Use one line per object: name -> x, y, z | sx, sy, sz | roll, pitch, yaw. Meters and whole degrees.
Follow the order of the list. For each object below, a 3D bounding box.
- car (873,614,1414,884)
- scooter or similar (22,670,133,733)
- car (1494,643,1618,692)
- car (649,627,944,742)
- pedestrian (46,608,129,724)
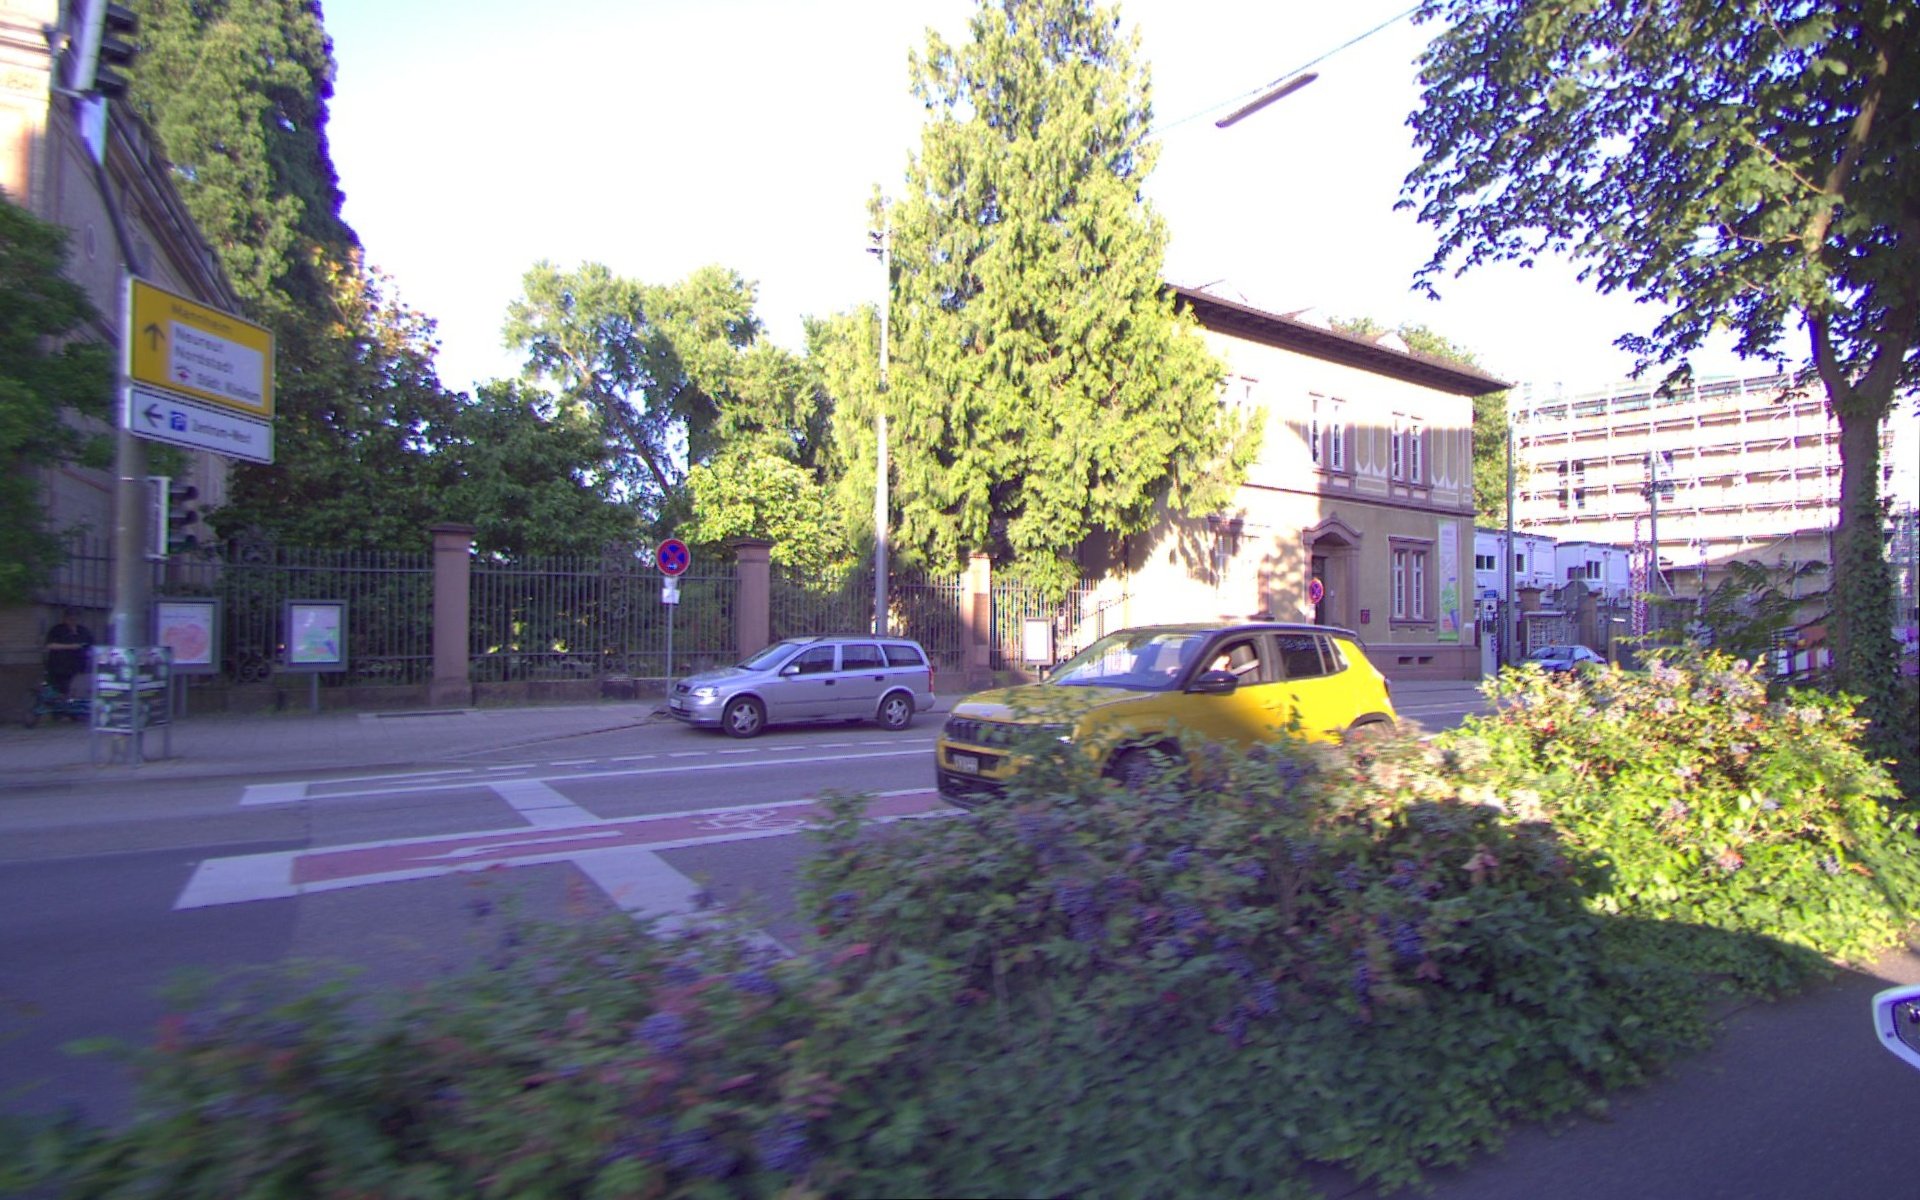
car -> 1.541, 0.940, 7.806 | 4.078, 1.568, 1.833 | 2, -3, -36
scooter or similar -> -12.024, 1.372, 13.716 | 1.017, 0.788, 0.674 | 1, -2, -32
car -> 17.940, 1.993, 30.195 | 3.845, 1.368, 1.670 | 2, -4, -33
car -> -2.528, 1.247, 15.978 | 4.324, 1.568, 1.734 | 2, -1, -34
pedestrian -> -12.485, 0.928, 14.395 | 0.754, 1.599, 0.732 | 1, -1, -31
